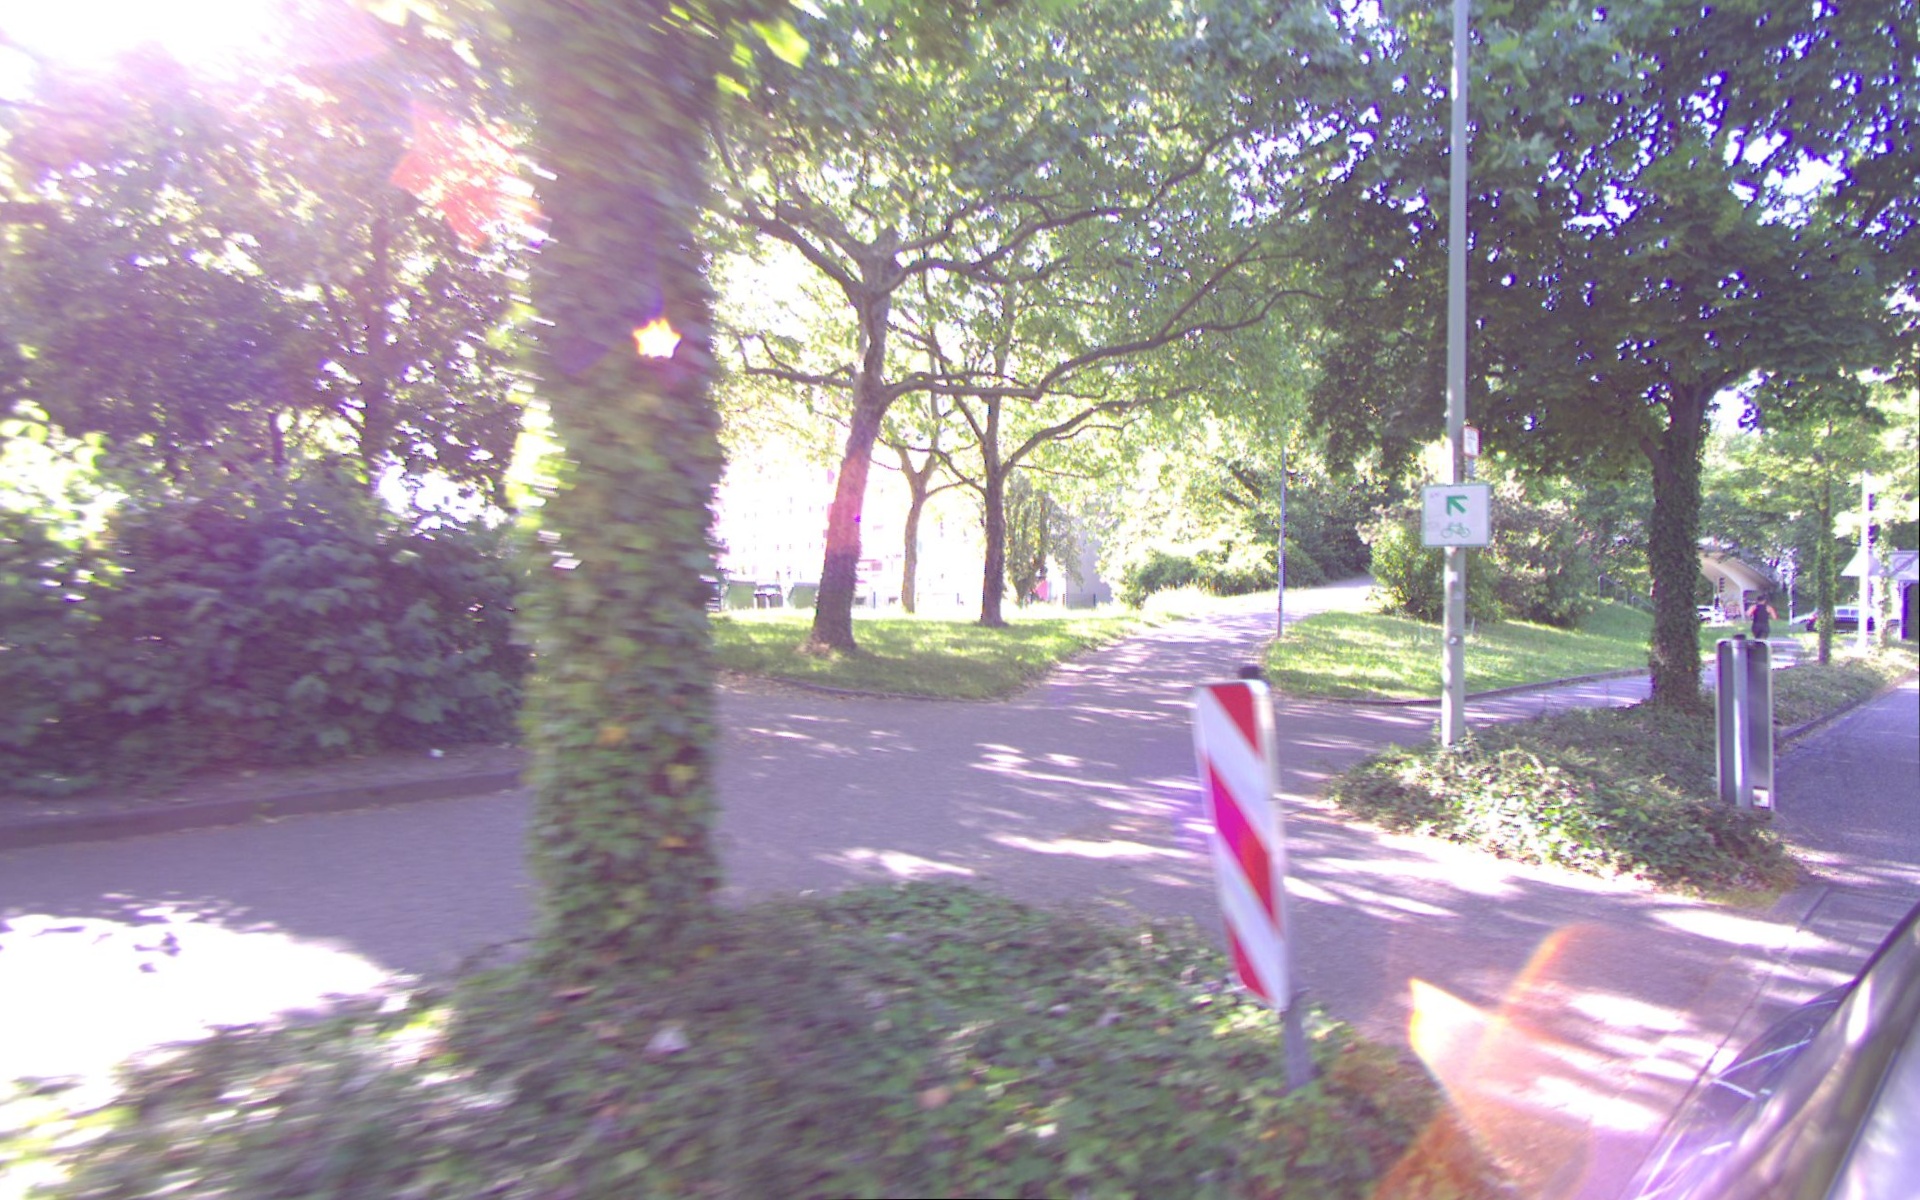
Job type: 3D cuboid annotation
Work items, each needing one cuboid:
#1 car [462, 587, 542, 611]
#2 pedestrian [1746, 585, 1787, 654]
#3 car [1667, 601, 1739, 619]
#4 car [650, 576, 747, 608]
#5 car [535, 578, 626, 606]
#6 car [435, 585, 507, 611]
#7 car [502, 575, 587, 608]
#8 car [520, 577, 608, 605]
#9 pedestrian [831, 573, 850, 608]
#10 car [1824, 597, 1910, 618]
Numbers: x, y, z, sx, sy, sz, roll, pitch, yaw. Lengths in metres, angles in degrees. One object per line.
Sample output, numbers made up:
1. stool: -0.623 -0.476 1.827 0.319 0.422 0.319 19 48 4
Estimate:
1. car: -27.716 -0.080 61.306 4.088 1.383 1.743 0 -1 -45
2. pedestrian: 22.060 0.513 27.671 0.660 1.855 0.792 1 0 -42
3. car: 55.363 0.744 75.470 1.589 1.235 4.063 0 -1 -37
4. car: -11.192 -0.332 43.488 3.794 1.310 1.538 0 -1 -45
5. car: -19.653 -0.405 52.516 4.088 1.383 1.743 0 -1 -45
6. car: -32.041 -0.148 66.362 3.929 1.644 1.997 0 -1 -40
7. car: -23.136 -0.456 56.428 4.088 1.708 1.743 0 -1 -45
8. car: -21.254 -0.471 54.411 4.088 1.383 1.743 0 -1 -45
9. pedestrian: -5.510 -0.443 46.684 0.618 1.609 0.677 -1 -1 17
10. car: 60.122 0.518 67.132 1.727 1.282 4.085 0 -1 -41
